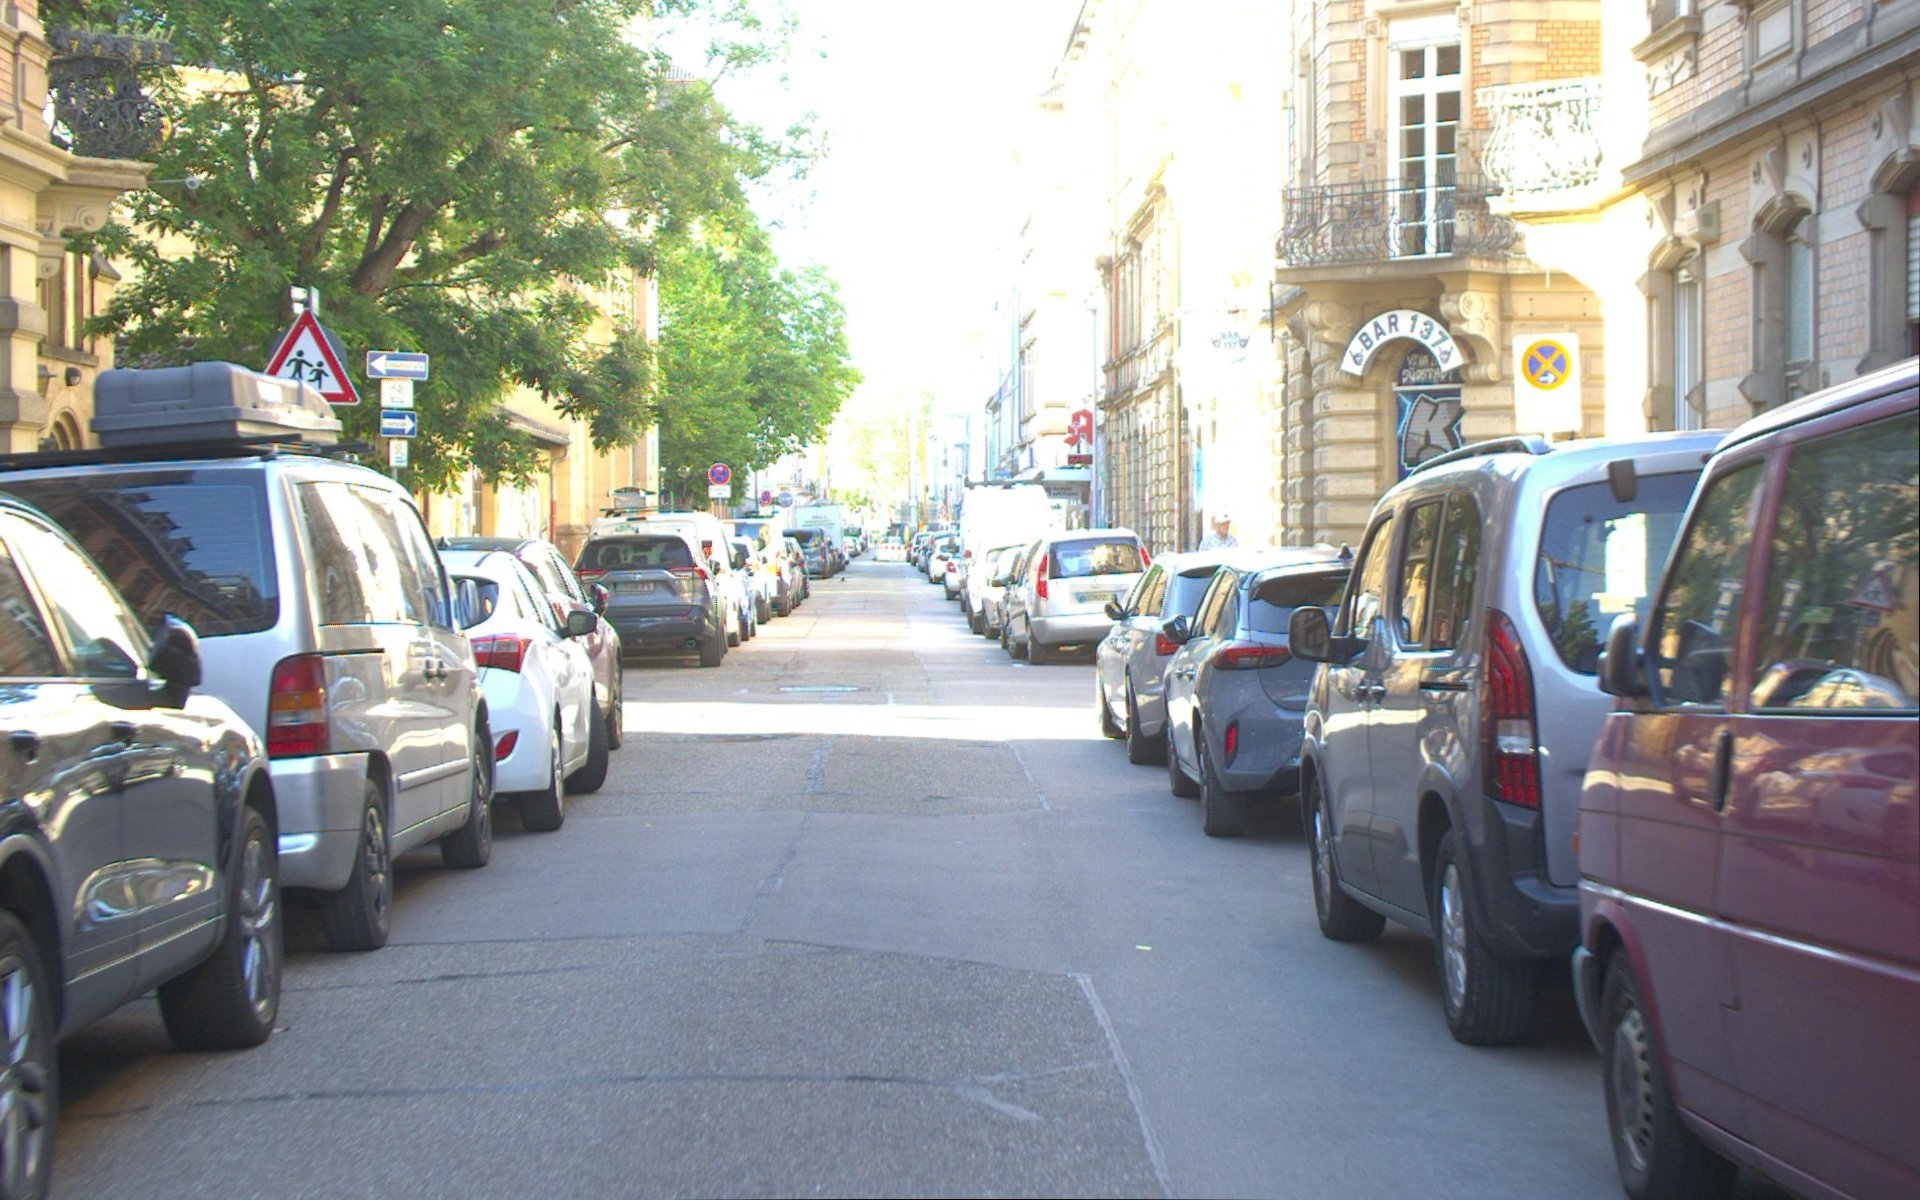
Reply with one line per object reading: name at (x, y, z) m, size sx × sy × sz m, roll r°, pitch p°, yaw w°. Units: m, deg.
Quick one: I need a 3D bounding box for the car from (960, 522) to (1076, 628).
car at (0.945, -0.441, 58.376) m, size 1.807 × 1.684 × 4.214 m, roll 2°, pitch 1°, yaw 0°

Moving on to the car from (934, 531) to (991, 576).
car at (0.067, -1.600, 117.524) m, size 1.897 × 1.483 × 3.870 m, roll 0°, pitch 1°, yaw -1°

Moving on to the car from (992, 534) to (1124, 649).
car at (1.348, -0.151, 48.490) m, size 1.535 × 1.508 × 3.682 m, roll -1°, pitch 1°, yaw -3°

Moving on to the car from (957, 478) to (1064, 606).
car at (1.025, -1.262, 73.086) m, size 2.068 × 2.602 × 5.888 m, roll 0°, pitch 1°, yaw -1°

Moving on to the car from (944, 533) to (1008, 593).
car at (0.410, -0.975, 88.891) m, size 1.603 × 1.499 × 4.000 m, roll 1°, pitch 1°, yaw 0°

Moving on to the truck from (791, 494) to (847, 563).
truck at (-6.838, -3.473, 167.665) m, size 2.532 × 3.270 × 6.995 m, roll 0°, pitch 1°, yaw -1°

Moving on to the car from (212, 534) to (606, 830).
car at (-2.910, 0.367, 18.851) m, size 1.674 × 1.415 × 3.875 m, roll 1°, pitch 1°, yaw -2°

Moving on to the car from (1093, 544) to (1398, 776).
car at (1.946, 0.354, 24.632) m, size 1.706 × 1.454 × 4.511 m, roll 1°, pitch 1°, yaw -1°

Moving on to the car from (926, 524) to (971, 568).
car at (-0.481, -2.176, 137.965) m, size 1.769 × 1.735 × 4.000 m, roll 0°, pitch 1°, yaw -1°

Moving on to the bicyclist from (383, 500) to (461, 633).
bicyclist at (-7.102, -0.451, 45.417) m, size 0.805 × 1.717 × 0.692 m, roll 2°, pitch 2°, yaw 7°

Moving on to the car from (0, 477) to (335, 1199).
car at (-2.896, 0.505, 8.676) m, size 1.788 × 1.619 × 4.608 m, roll 1°, pitch 1°, yaw 0°

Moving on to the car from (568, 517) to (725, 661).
car at (-3.759, -0.176, 41.755) m, size 1.740 × 1.641 × 4.290 m, roll 0°, pitch 1°, yaw -3°

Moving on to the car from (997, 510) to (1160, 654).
car at (1.462, -0.265, 43.627) m, size 1.703 × 1.708 × 3.939 m, roll -1°, pitch 1°, yaw -3°

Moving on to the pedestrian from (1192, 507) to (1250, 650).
pedestrian at (3.196, -0.266, 42.188) m, size 0.574 × 1.726 × 0.664 m, roll -2°, pitch 2°, yaw -4°

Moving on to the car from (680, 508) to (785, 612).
car at (-4.542, -0.822, 69.125) m, size 1.864 × 1.950 × 4.611 m, roll -2°, pitch 1°, yaw -2°

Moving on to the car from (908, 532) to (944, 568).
car at (-1.910, -2.829, 193.817) m, size 1.993 × 2.007 × 4.000 m, roll 0°, pitch 1°, yaw -1°

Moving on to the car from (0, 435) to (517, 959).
car at (-3.062, 0.284, 14.151) m, size 1.892 × 1.778 × 4.608 m, roll 1°, pitch 1°, yaw -1°

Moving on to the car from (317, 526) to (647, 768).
car at (-3.173, 0.255, 23.528) m, size 1.722 × 1.476 × 4.090 m, roll 1°, pitch 1°, yaw -1°

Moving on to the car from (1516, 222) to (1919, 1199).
car at (2.395, 0.407, 6.404) m, size 1.832 × 2.007 × 4.742 m, roll 1°, pitch 1°, yaw -1°

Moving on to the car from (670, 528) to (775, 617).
car at (-4.359, -0.529, 63.491) m, size 1.742 × 1.581 × 3.869 m, roll 0°, pitch 1°, yaw -1°

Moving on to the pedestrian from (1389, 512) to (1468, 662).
pedestrian at (5.161, -0.149, 37.880) m, size 0.574 × 1.616 × 0.734 m, roll -2°, pitch 2°, yaw -17°

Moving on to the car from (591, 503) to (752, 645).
car at (-3.929, -0.404, 47.437) m, size 1.845 × 1.856 × 4.465 m, roll 0°, pitch 2°, yaw 0°

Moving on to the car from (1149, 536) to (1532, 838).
car at (2.020, 0.402, 19.232) m, size 1.666 × 1.474 × 3.888 m, roll 0°, pitch 2°, yaw -1°

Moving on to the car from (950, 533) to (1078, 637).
car at (0.817, -0.266, 54.101) m, size 1.572 × 1.520 × 3.909 m, roll 2°, pitch 1°, yaw -5°

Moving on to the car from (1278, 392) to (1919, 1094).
car at (2.233, 0.366, 11.844) m, size 1.769 × 1.954 × 4.264 m, roll 1°, pitch 1°, yaw -1°

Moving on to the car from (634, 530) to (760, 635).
car at (-3.991, -0.298, 52.623) m, size 1.687 × 1.471 × 3.861 m, roll -2°, pitch 1°, yaw -1°

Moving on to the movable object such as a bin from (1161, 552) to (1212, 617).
movable object such as a bin at (3.777, -0.259, 57.387) m, size 0.548 × 1.049 × 0.603 m, roll -4°, pitch 2°, yaw -34°

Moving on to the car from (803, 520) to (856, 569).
car at (-4.901, -2.096, 129.550) m, size 1.875 × 1.790 × 4.000 m, roll 0°, pitch 1°, yaw -1°

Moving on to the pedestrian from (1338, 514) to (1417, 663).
pedestrian at (4.568, -0.137, 37.671) m, size 0.590 × 1.598 × 0.728 m, roll -2°, pitch 2°, yaw -16°

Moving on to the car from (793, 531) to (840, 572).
car at (-6.309, -2.146, 151.102) m, size 1.875 × 1.790 × 4.001 m, roll 0°, pitch 1°, yaw -5°
